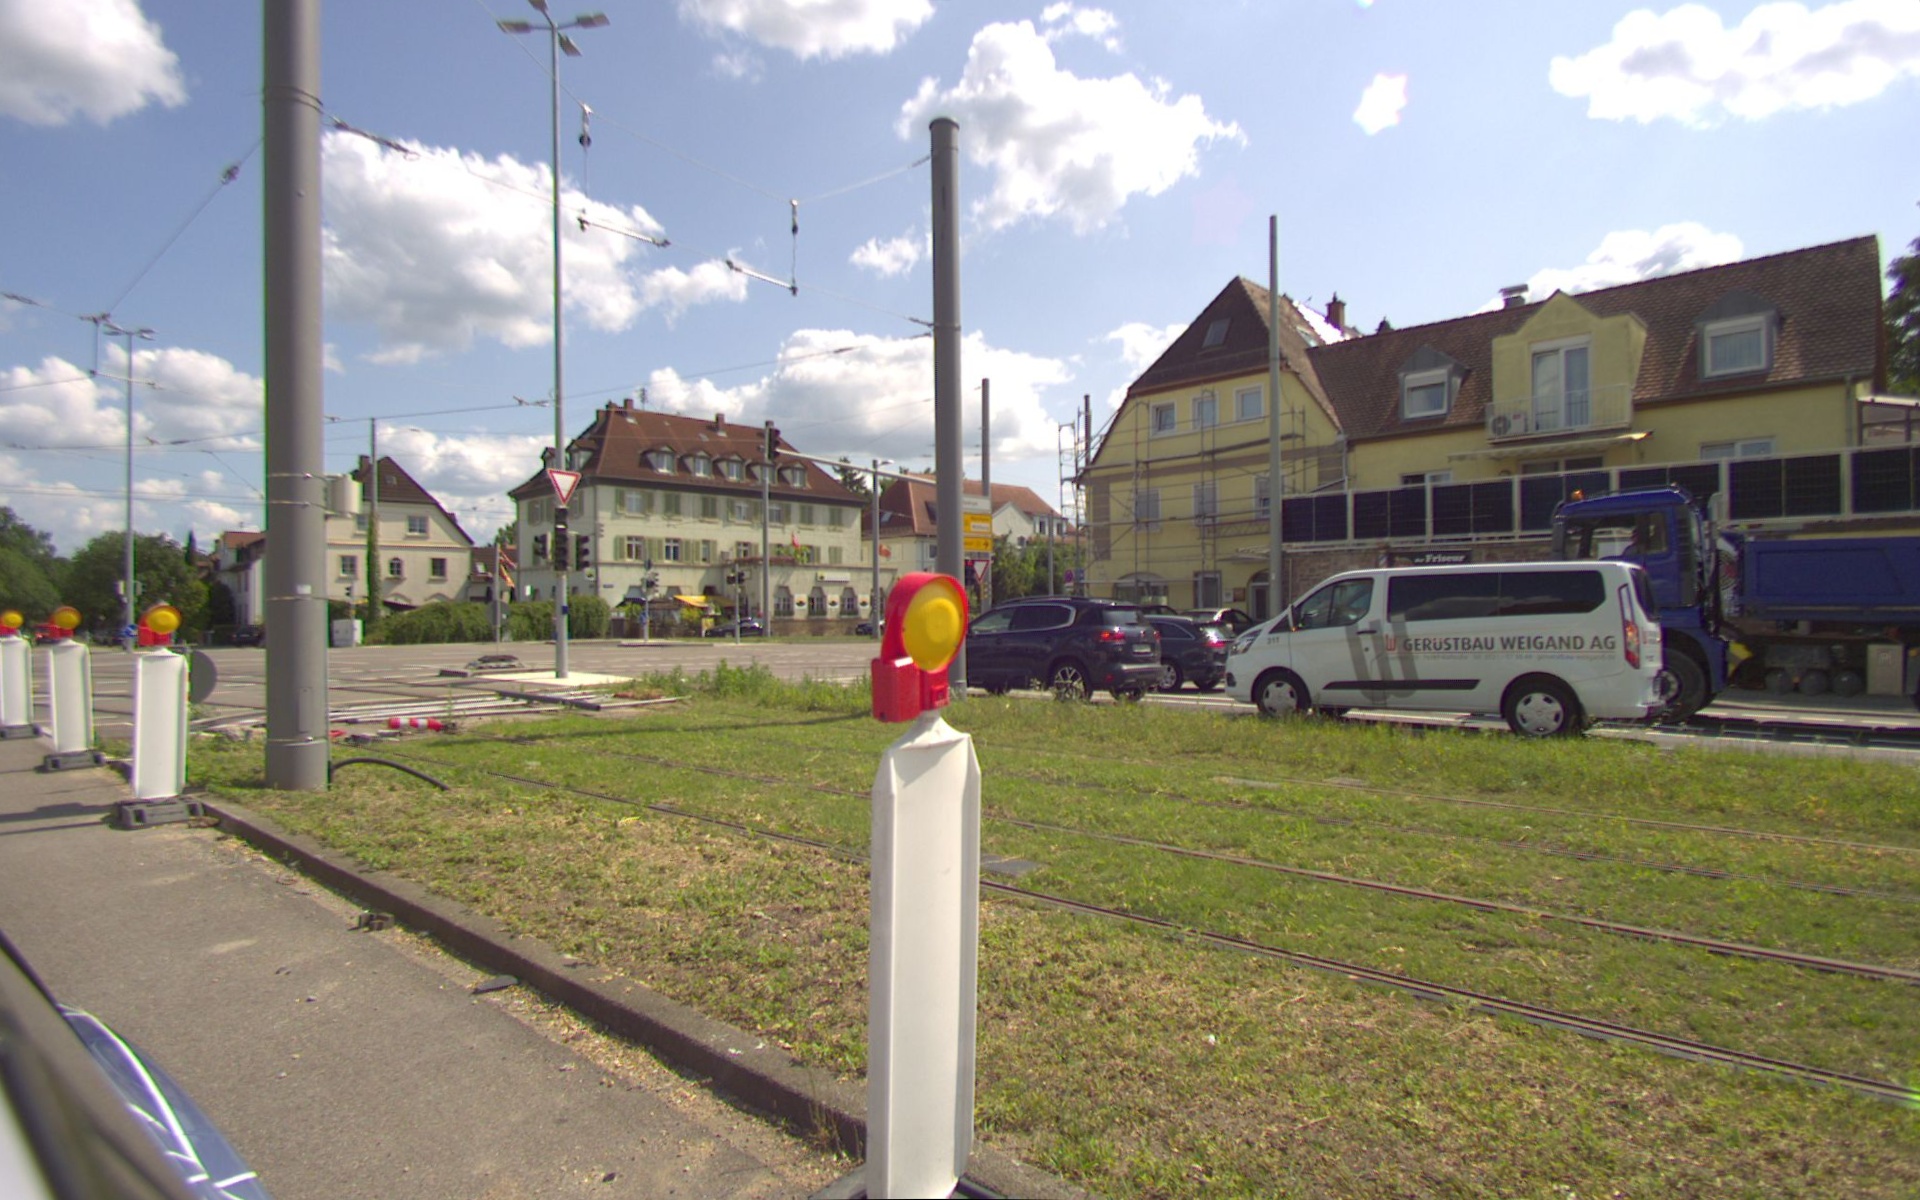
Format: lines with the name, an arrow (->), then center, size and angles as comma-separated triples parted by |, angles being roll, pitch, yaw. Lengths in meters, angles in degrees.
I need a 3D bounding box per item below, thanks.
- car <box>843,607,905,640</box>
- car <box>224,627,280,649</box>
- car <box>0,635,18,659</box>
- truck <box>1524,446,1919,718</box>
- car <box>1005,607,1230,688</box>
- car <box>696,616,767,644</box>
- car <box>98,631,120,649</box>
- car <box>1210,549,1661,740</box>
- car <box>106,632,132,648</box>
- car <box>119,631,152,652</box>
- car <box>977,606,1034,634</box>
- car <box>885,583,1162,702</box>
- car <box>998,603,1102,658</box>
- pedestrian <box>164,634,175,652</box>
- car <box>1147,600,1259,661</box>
car -> -5.497, 1.471, 64.801 | 1.905, 2.029, 3.661 | -1, -1, 44
car -> -48.858, 2.615, 69.940 | 1.733, 1.397, 4.112 | -1, -1, -13
car -> -60.541, 2.948, 63.768 | 1.684, 1.473, 3.158 | 0, -2, -42
truck -> 11.945, -0.203, 13.263 | 7.575, 3.212, 2.741 | -1, -1, 39
car -> 3.163, 0.914, 20.922 | 4.333, 1.498, 1.808 | -1, -1, 42
car -> -13.692, 1.814, 60.759 | 1.747, 1.596, 3.869 | -2, -2, 43
car -> -81.451, 3.850, 96.921 | 1.539, 1.667, 3.579 | 0, -2, -39
car -> 5.685, 0.496, 12.496 | 4.743, 1.936, 1.796 | -1, -1, 39
car -> -72.381, 3.472, 87.115 | 1.683, 1.306, 3.924 | 0, -2, -39
car -> -60.174, 3.009, 73.853 | 1.685, 1.473, 3.158 | 0, -2, -43
car -> 3.385, 1.483, 74.699 | 3.938, 2.029, 2.003 | 0, -1, -41
car -> 0.949, 0.685, 16.860 | 4.438, 1.734, 1.768 | -2, -2, 41
car -> 2.940, 0.931, 32.259 | 1.178, 1.504, 4.094 | -2, 0, 39
pedestrian -> -66.999, 3.626, 85.815 | 0.618, 1.547, 0.623 | -2, -2, 41
car -> 6.943, 0.819, 28.616 | 1.433, 1.504, 4.094 | -2, 0, 39
